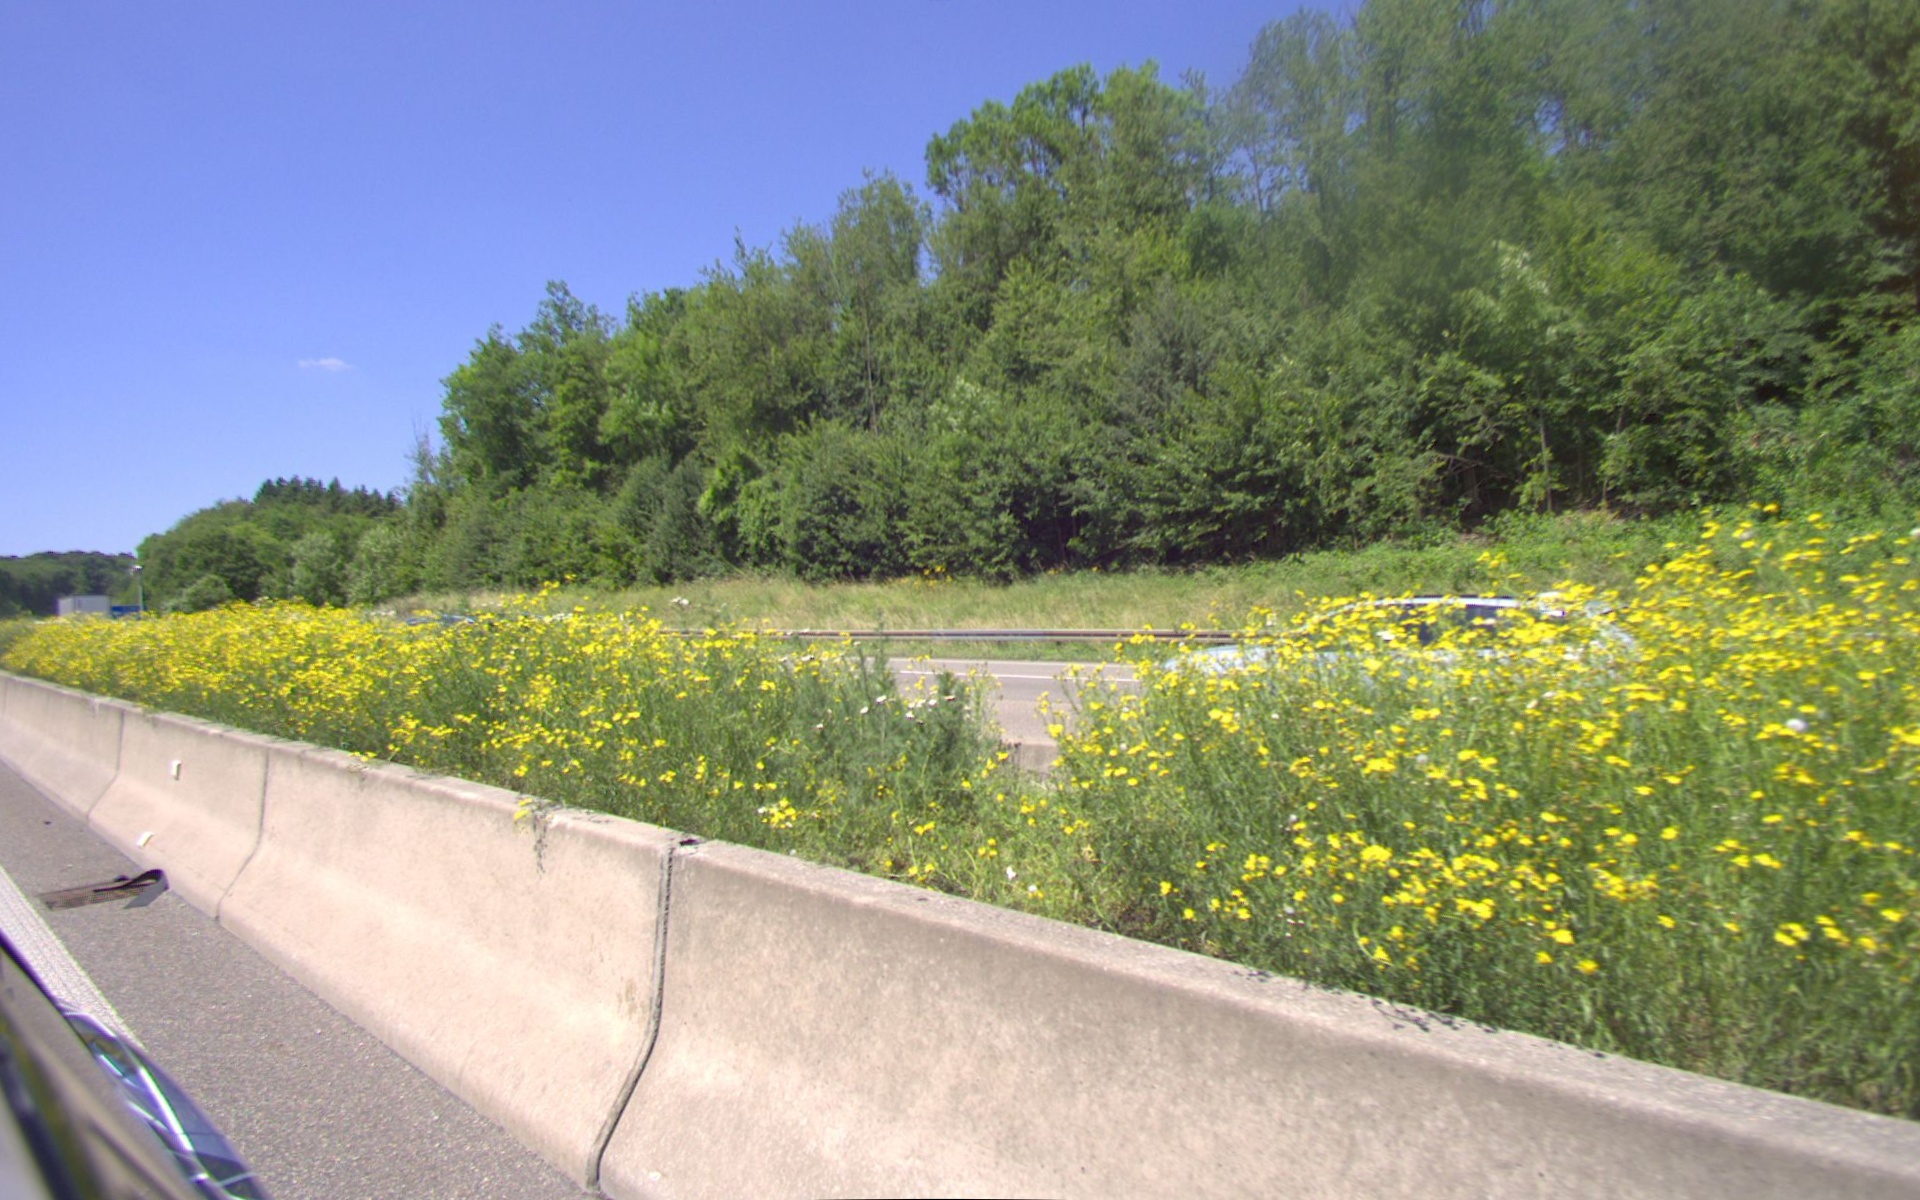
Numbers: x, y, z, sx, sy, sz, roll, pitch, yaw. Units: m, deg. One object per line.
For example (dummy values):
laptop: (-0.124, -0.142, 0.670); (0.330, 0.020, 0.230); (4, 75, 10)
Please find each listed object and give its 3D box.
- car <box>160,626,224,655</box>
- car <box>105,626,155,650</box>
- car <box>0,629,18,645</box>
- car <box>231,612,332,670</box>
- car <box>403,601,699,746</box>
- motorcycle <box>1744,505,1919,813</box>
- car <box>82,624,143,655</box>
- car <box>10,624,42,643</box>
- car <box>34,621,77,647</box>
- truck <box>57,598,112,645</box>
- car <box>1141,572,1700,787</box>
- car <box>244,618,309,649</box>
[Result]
car: (-41.612, 2.191, 54.808); (4.005, 1.455, 1.973); (-2, -1, 41)
car: (-55.077, 2.531, 67.117); (3.998, 1.503, 1.973); (-2, -1, 41)
car: (-94.370, 3.635, 99.645); (4.246, 1.509, 1.972); (-2, -1, 42)
car: (-22.368, 1.323, 33.331); (4.146, 1.747, 1.719); (-2, -1, 41)
car: (-5.215, 0.817, 12.672); (3.998, 1.508, 1.820); (-2, -1, 41)
motorcycle: (4.722, 0.215, 3.909); (2.612, 1.224, 1.030); (-2, -1, 41)
car: (-46.789, 2.184, 55.846); (4.063, 1.584, 1.973); (-2, -1, 41)
car: (-80.067, 2.881, 86.769); (3.881, 1.509, 1.658); (-2, -1, 42)
car: (-65.530, 2.453, 73.312); (4.275, 1.768, 1.865); (-2, -1, 41)
truck: (-80.198, 1.991, 92.574); (13.751, 3.968, 2.797); (-2, -1, 45)
car: (4.049, 0.608, 9.348); (4.355, 1.533, 1.820); (-2, -1, 41)
car: (-39.878, 1.946, 59.006); (4.765, 1.705, 1.973); (-2, -1, 41)
